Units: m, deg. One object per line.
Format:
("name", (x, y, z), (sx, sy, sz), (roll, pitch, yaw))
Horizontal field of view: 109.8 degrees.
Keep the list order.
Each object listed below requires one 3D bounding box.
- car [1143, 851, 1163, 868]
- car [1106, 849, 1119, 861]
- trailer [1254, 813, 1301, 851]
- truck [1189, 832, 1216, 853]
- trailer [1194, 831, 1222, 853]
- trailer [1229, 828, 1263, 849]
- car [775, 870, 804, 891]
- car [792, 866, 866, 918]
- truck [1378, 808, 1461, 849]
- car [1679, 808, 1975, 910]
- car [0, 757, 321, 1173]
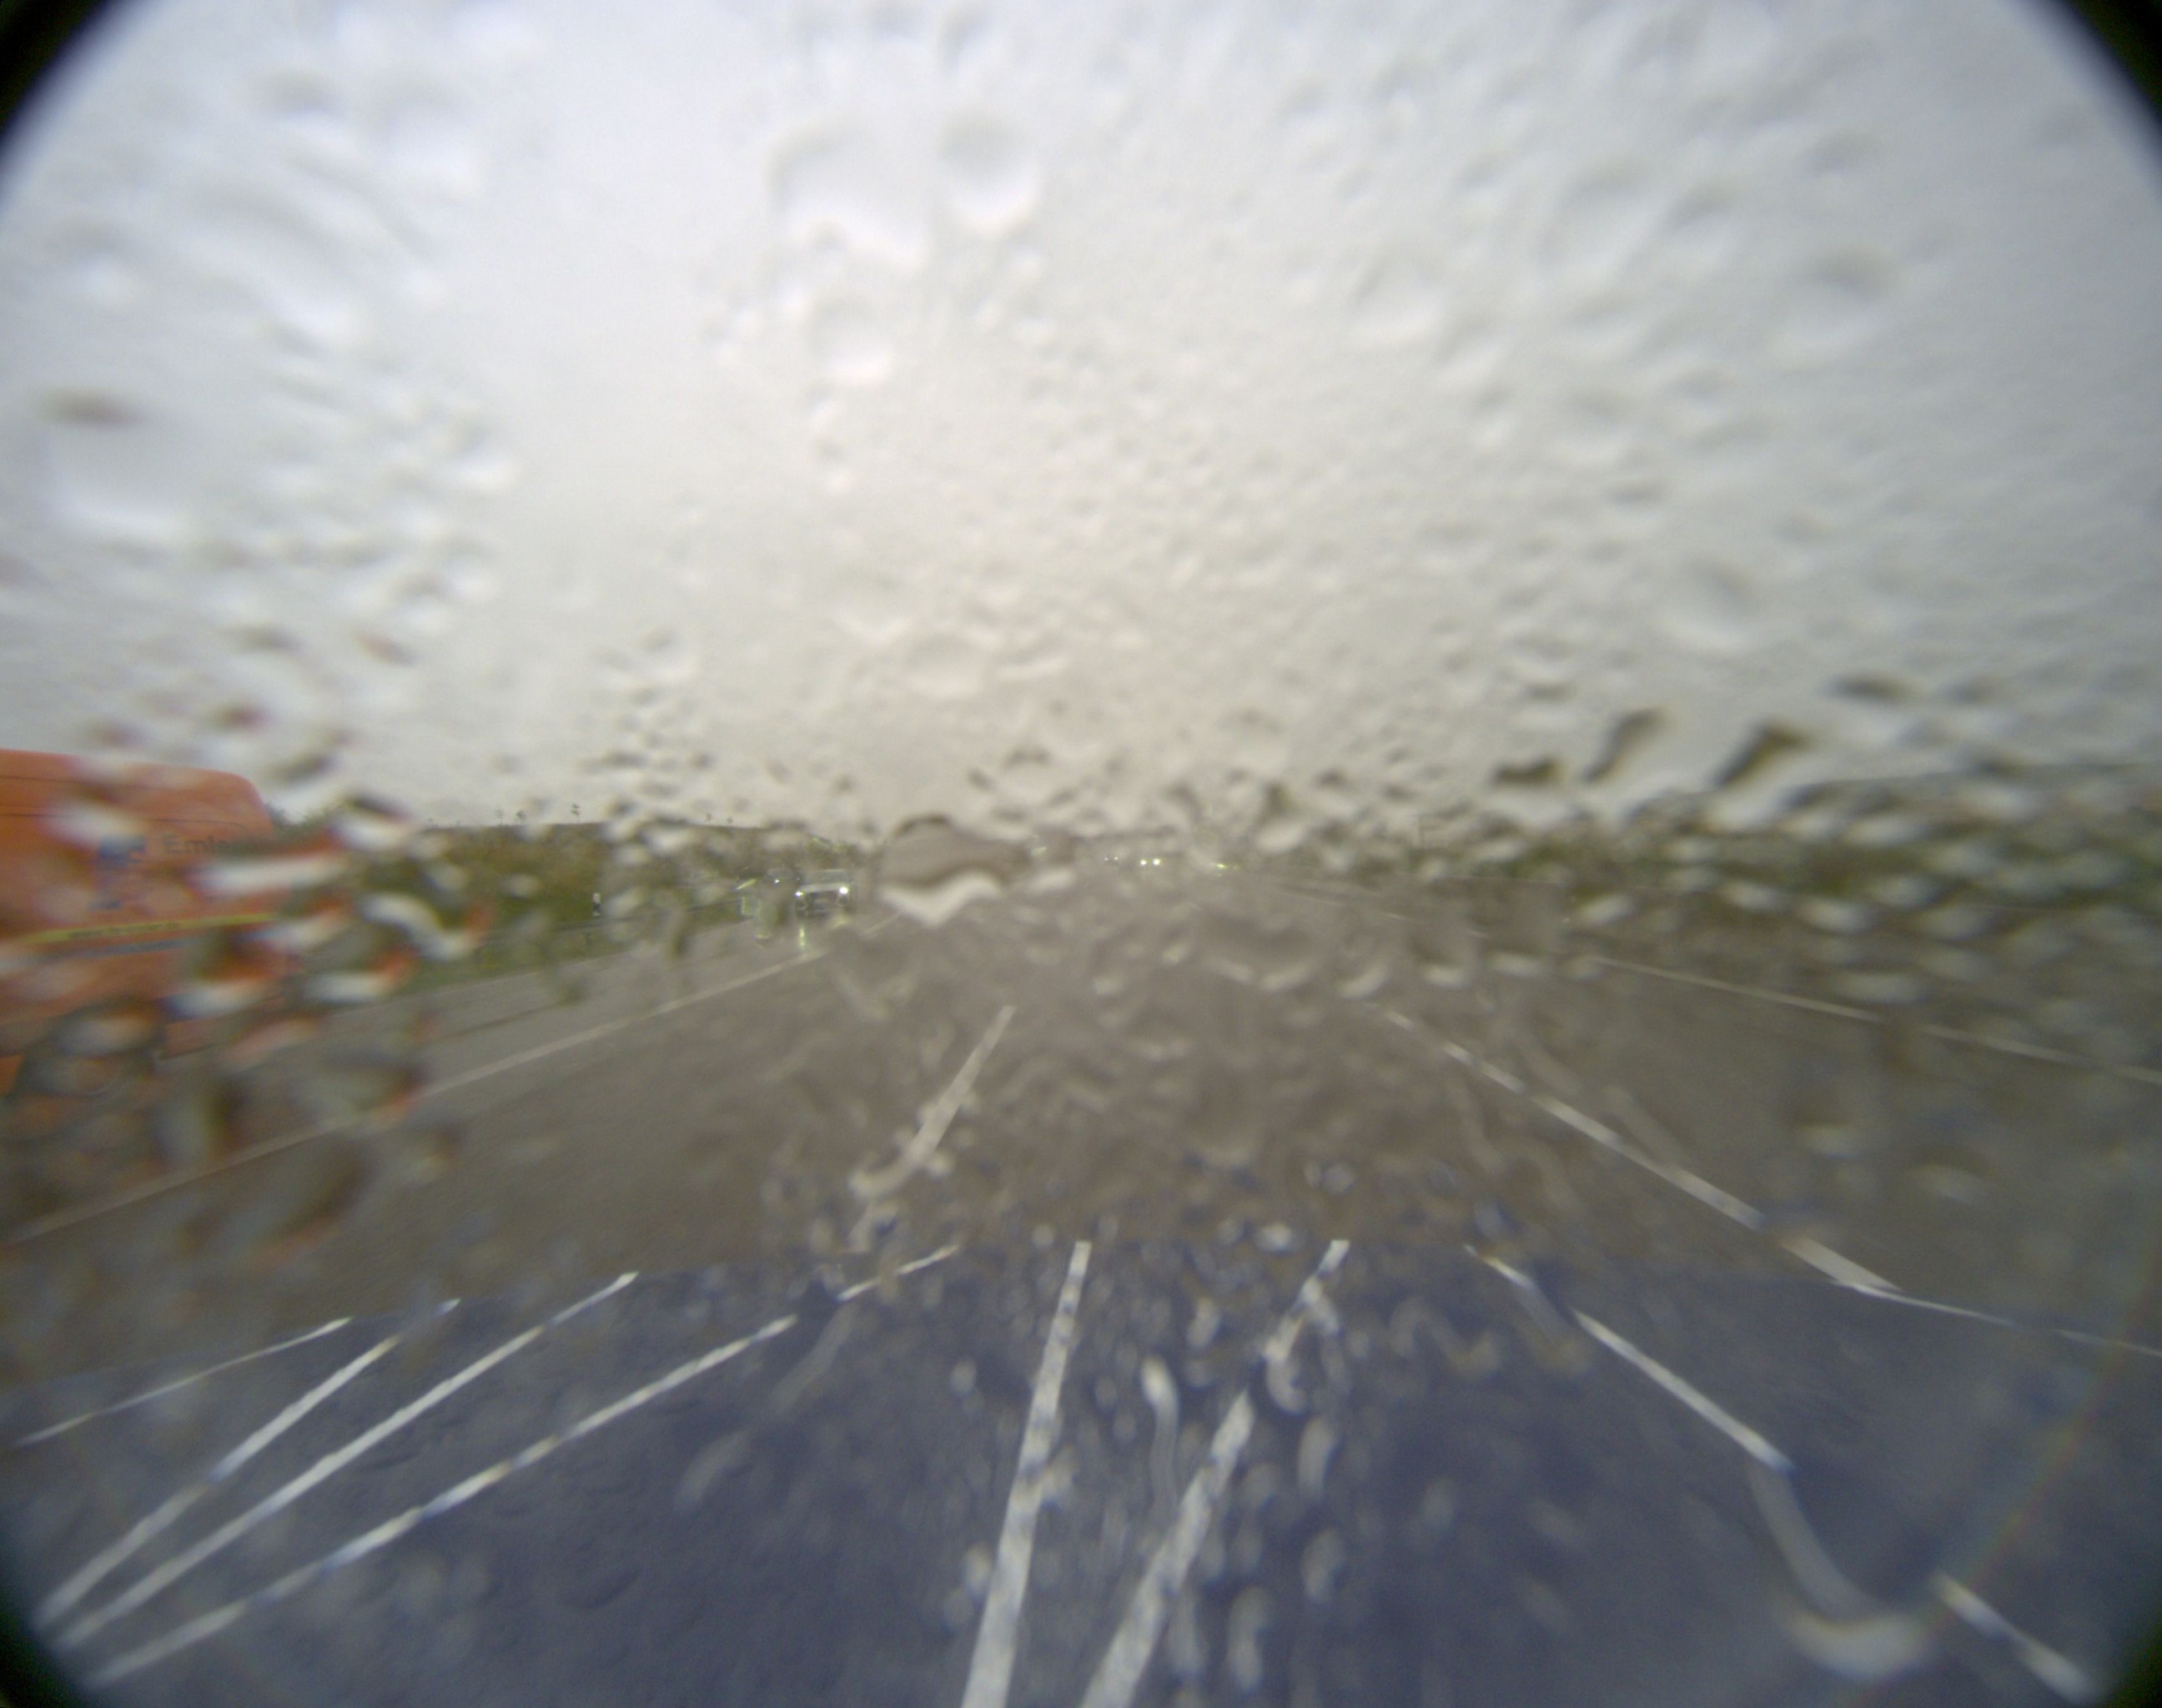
("car", (6.974, 0.502, 74.174), (1.700, 1.543, 3.733), (-2, 1, 2))
("car", (4.390, 0.077, 105.572), (1.701, 1.543, 3.733), (-2, 1, 2))
("trailer", (22.603, -2.425, 88.037), (2.441, 3.916, 13.493), (-3, 1, 3))
("truck", (21.058, -1.898, 132.259), (3.273, 3.421, 10.130), (-1, 0, 2))
("trailer", (20.770, -1.871, 124.570), (3.265, 3.436, 9.443), (-1, 0, 2))
("trailer", (28.116, -2.536, 130.475), (3.122, 3.398, 14.235), (-1, 0, 2))
("car", (-20.923, 1.859, 54.567), (1.822, 1.281, 3.993), (-3, 1, -21))
("car", (-9.080, 1.319, 27.728), (1.915, 1.477, 4.472), (-5, 1, -12))
("truck", (26.645, -1.933, 60.337), (2.827, 2.892, 8.280), (-2, 1, 0))
("car", (11.729, 0.061, 12.272), (1.562, 1.346, 3.293), (-3, 0, 2))
("car", (-7.759, 0.747, 3.294), (2.067, 2.600, 6.884), (-3, 0, -3))
